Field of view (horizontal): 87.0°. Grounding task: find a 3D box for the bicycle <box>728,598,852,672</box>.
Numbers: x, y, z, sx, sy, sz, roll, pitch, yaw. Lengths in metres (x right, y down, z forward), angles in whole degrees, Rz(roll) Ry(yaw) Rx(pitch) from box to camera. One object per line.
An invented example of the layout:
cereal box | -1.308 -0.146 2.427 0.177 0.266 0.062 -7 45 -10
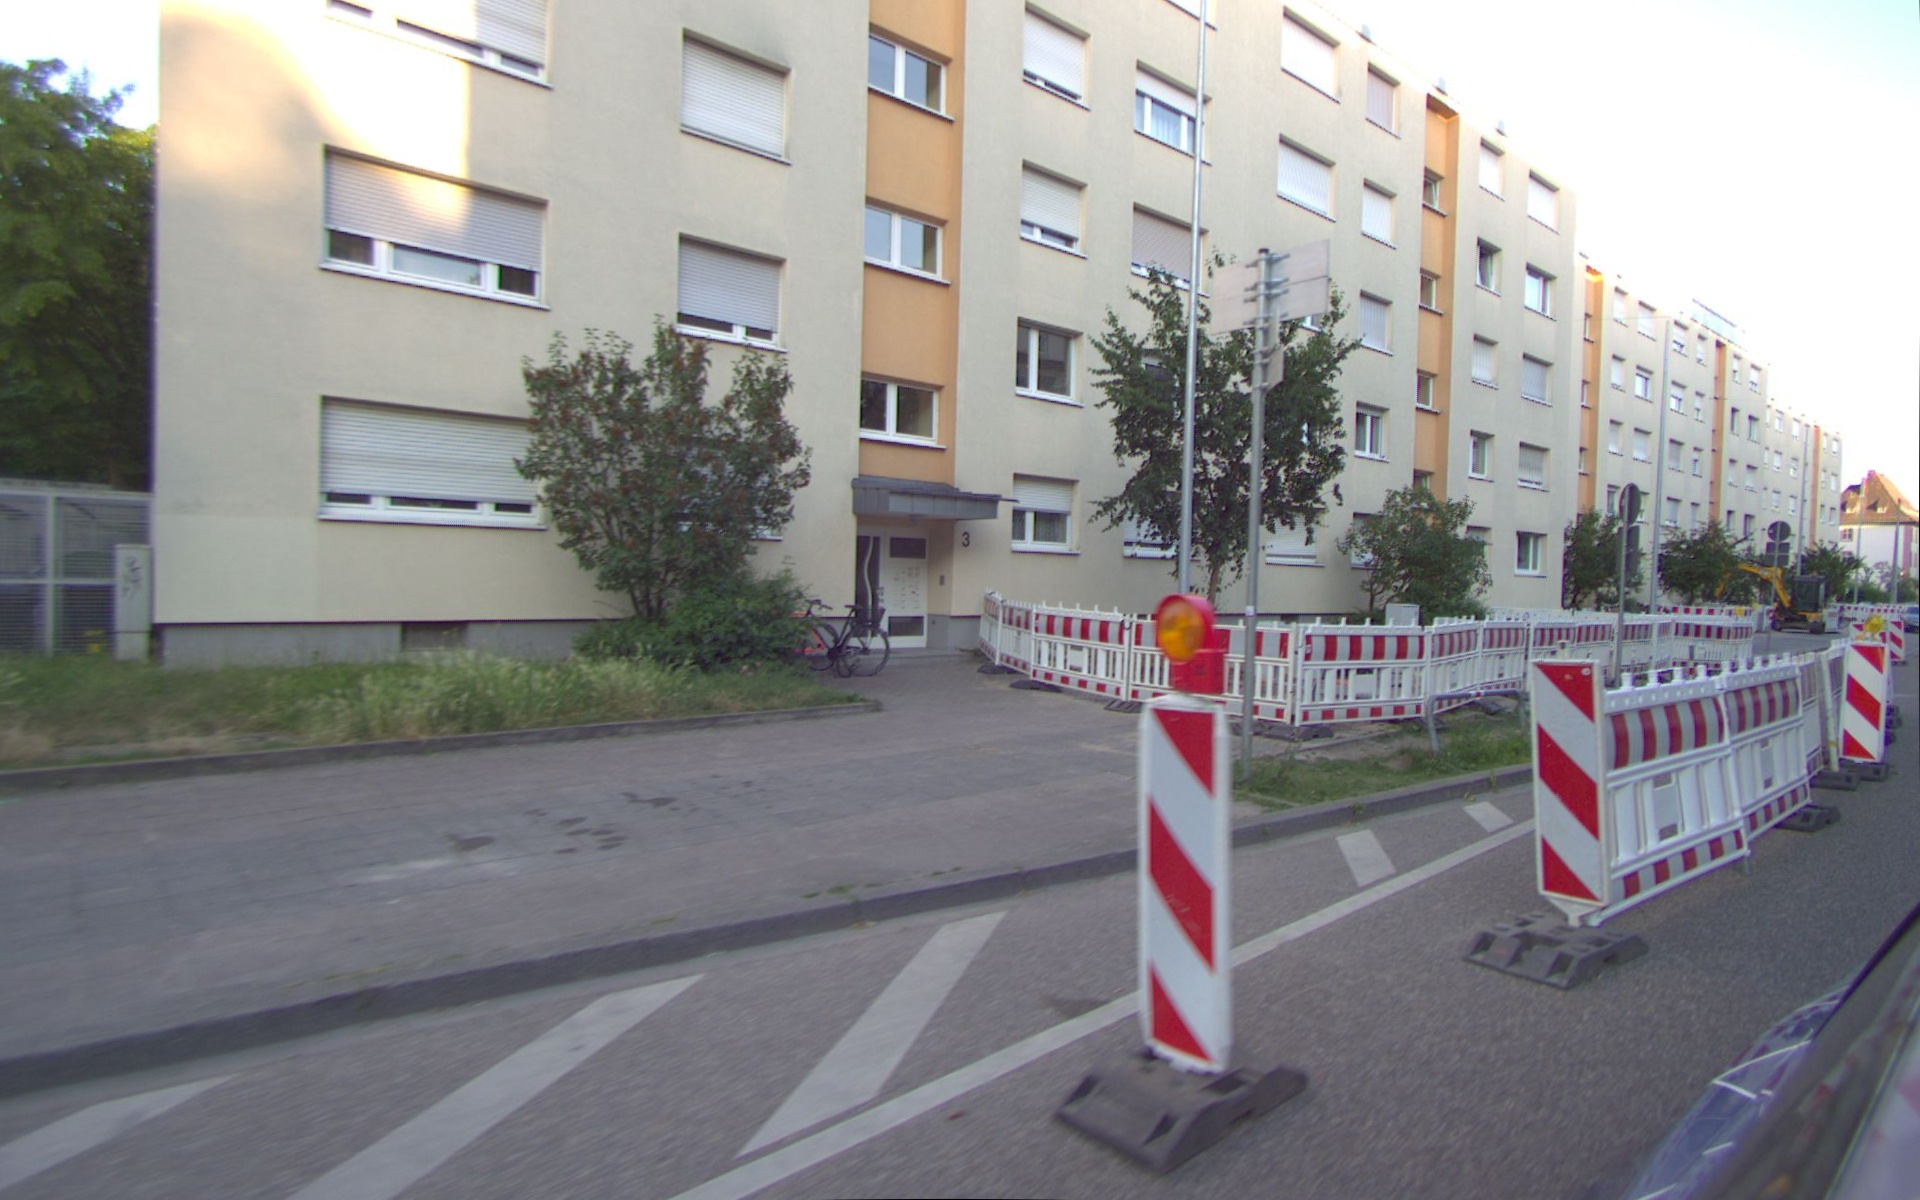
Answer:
bicycle | -2.397 0.473 14.378 1.666 0.980 0.545 0 1 -38

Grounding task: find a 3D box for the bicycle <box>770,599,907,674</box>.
bicycle | -1.667 0.492 13.882 1.776 0.980 0.547 1 1 -19

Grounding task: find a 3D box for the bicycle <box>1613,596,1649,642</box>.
bicycle | 18.678 0.519 28.154 1.880 1.237 0.452 0 1 -45

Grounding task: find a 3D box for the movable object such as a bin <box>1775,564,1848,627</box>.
movable object such as a bin | 38.359 -0.239 45.593 2.838 2.726 1.939 0 1 -38

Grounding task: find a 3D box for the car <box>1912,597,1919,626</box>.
car | 53.852 0.683 55.569 4.494 1.508 1.780 0 6 -42

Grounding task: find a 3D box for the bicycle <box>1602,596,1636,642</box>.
bicycle | 18.430 0.517 28.298 0.398 1.237 1.880 2 1 45

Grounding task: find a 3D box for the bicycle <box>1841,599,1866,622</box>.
bicycle | 48.596 0.541 55.043 0.552 1.186 1.799 1 1 27

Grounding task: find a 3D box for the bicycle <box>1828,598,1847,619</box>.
bicycle | 50.471 0.503 58.218 1.784 1.186 0.557 0 1 -40

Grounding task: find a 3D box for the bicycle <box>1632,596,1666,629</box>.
bicycle | 25.854 0.461 37.972 1.784 1.186 0.557 0 1 -40

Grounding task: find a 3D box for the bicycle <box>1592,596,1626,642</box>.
bicycle | 18.311 0.513 28.531 0.398 1.237 1.796 2 1 45

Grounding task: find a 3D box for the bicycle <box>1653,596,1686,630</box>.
bicycle | 26.053 0.470 37.161 1.784 1.186 0.557 0 1 -40
